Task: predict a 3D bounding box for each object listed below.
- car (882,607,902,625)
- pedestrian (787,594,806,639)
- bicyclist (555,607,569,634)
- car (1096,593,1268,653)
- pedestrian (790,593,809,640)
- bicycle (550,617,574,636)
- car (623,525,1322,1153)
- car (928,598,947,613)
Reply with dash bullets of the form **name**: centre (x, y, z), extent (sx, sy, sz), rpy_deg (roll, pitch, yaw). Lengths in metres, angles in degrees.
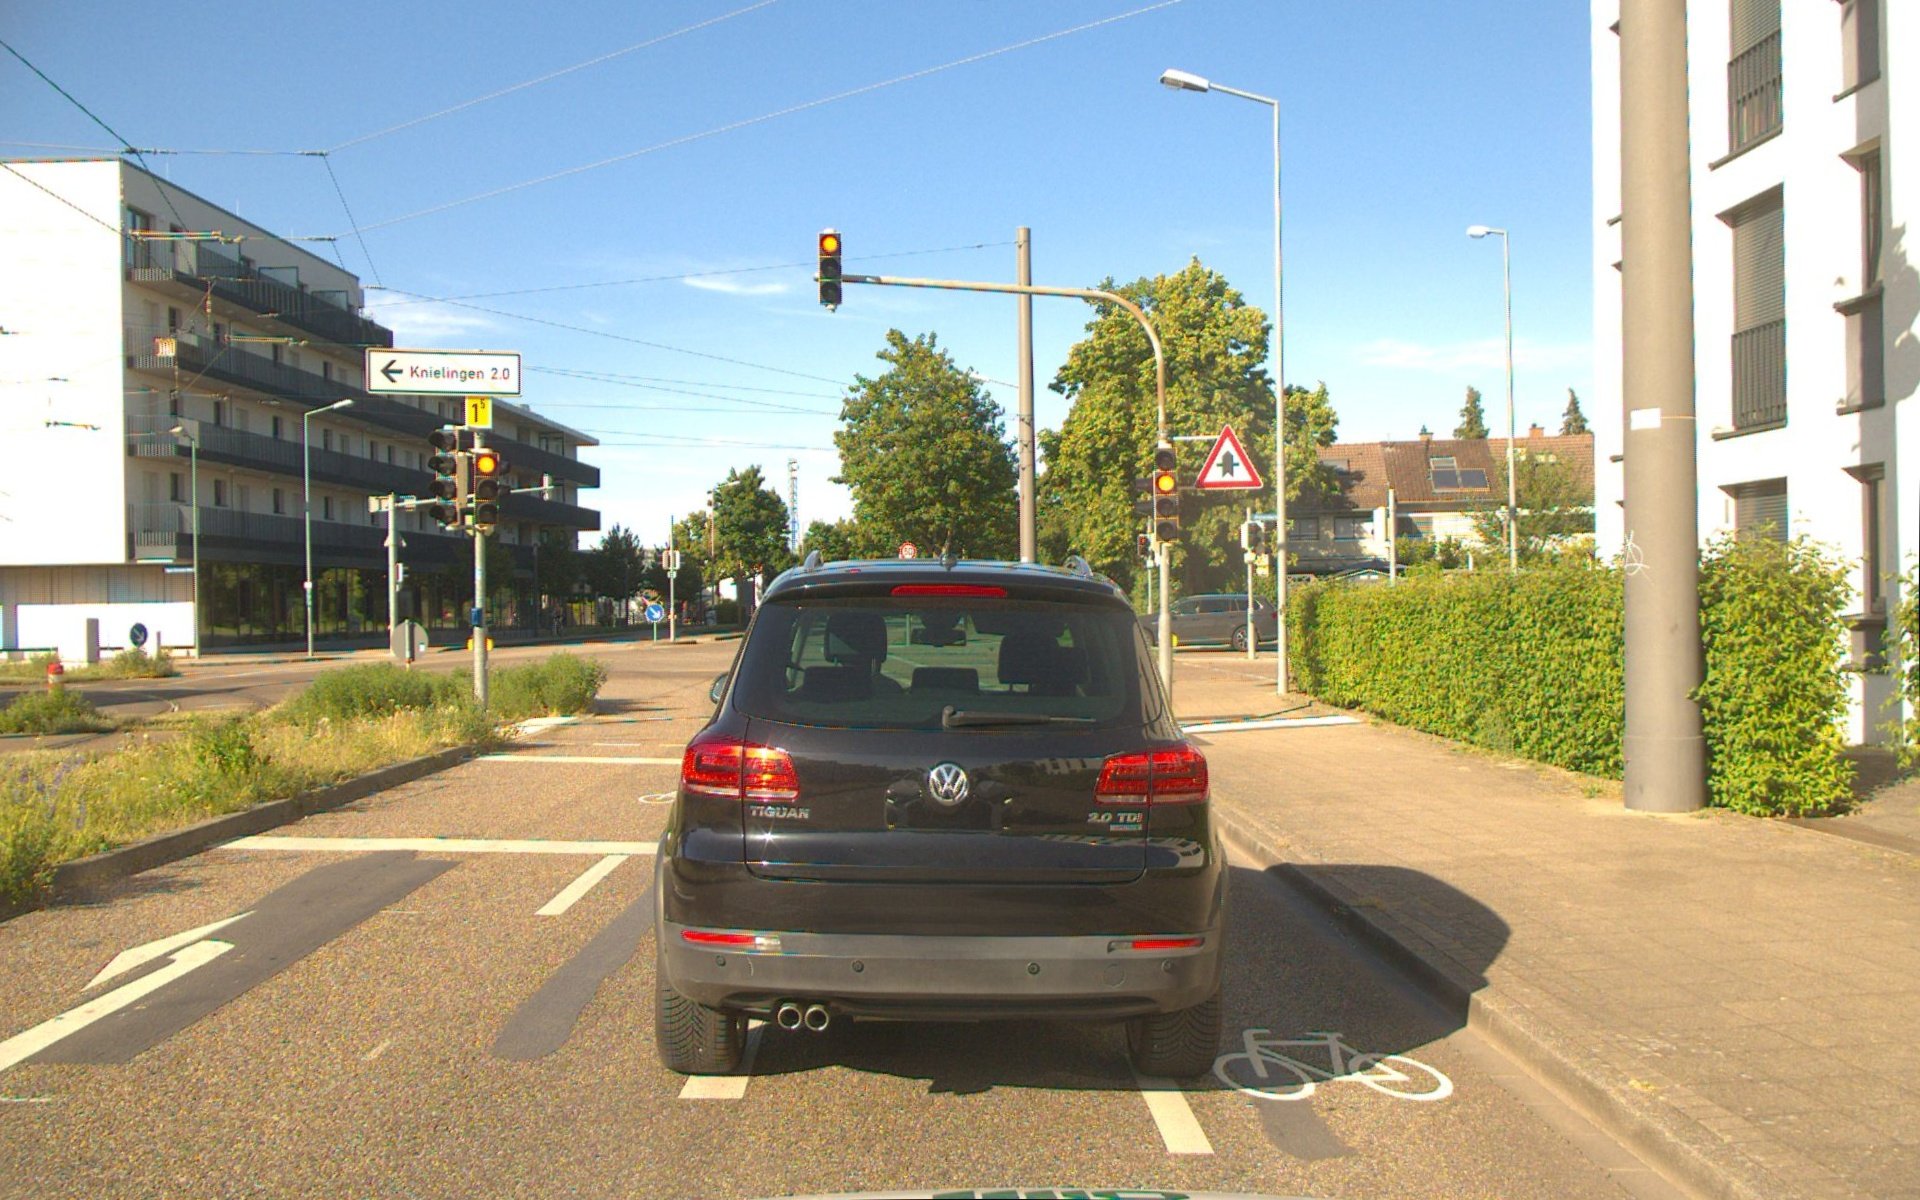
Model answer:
- **car**: centre (-6.515, 1.490, 158.465), extent (1.621, 1.668, 4.001), rpy_deg (0, 0, 1)
- **pedestrian**: centre (-5.826, 0.580, 59.056), extent (0.590, 1.592, 0.529), rpy_deg (0, 0, 4)
- **bicyclist**: centre (-18.973, 0.966, 78.925), extent (0.464, 1.245, 0.713), rpy_deg (0, 0, 3)
- **car**: centre (5.866, 0.597, 44.148), extent (4.403, 1.530, 2.001), rpy_deg (0, 0, 3)
- **pedestrian**: centre (-5.774, 0.599, 59.671), extent (0.590, 1.668, 0.529), rpy_deg (0, 0, 4)
- **bicycle**: centre (-18.985, 1.235, 78.927), extent (0.485, 0.863, 2.079), rpy_deg (0, 0, 3)
- **car**: centre (-0.028, 0.635, 6.442), extent (1.867, 1.671, 3.998), rpy_deg (0, 0, -2)
- **car**: centre (-2.165, 0.479, 159.370), extent (1.716, 1.411, 3.998), rpy_deg (0, 0, -2)
